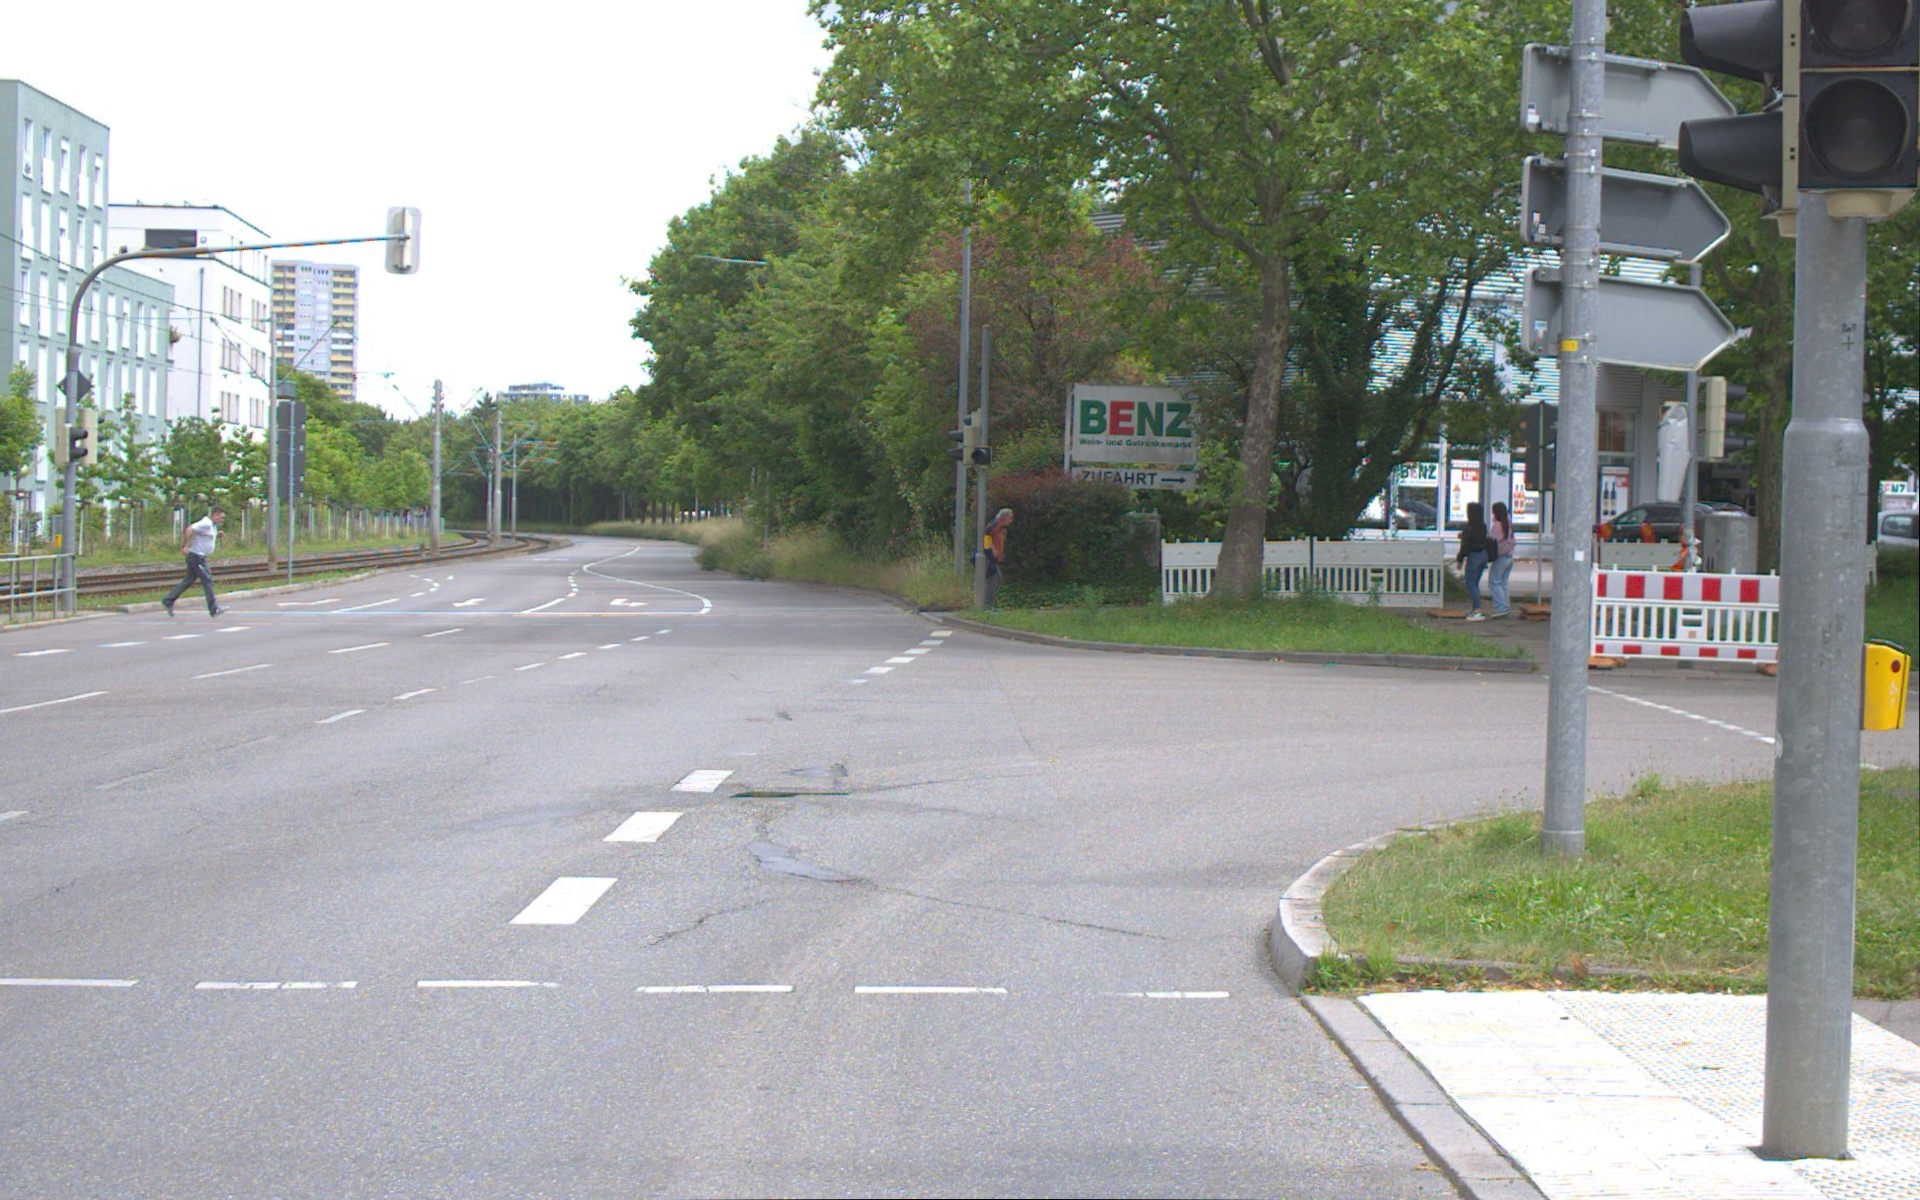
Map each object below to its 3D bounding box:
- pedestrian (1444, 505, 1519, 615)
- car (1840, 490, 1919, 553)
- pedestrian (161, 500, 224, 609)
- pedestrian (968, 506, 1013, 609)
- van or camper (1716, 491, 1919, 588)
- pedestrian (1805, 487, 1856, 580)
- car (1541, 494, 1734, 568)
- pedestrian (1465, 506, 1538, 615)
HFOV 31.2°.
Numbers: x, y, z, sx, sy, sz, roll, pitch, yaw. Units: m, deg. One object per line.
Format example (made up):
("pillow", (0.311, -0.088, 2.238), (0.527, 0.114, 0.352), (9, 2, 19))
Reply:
("pedestrian", (7.100, -0.538, 46.849), (0.718, 1.484, 0.699), (0, 1, -44))
("car", (21.824, -1.781, 78.215), (1.480, 1.399, 3.409), (1, 1, -31))
("pedestrian", (-11.347, -0.671, 50.852), (0.848, 1.581, 0.796), (1, 0, -9))
("pedestrian", (0.459, -0.637, 51.808), (0.653, 1.533, 0.773), (1, 0, 0))
("van or camper", (15.668, -1.115, 61.992), (1.840, 1.678, 4.001), (-1, 2, -28))
("pedestrian", (18.912, -1.439, 74.690), (0.804, 1.995, 0.853), (1, 0, -5))
("car", (14.244, -1.442, 72.507), (1.728, 1.495, 4.269), (1, 1, -27))
("pedestrian", (7.506, -0.546, 47.636), (0.686, 1.484, 0.699), (0, 1, -42))
